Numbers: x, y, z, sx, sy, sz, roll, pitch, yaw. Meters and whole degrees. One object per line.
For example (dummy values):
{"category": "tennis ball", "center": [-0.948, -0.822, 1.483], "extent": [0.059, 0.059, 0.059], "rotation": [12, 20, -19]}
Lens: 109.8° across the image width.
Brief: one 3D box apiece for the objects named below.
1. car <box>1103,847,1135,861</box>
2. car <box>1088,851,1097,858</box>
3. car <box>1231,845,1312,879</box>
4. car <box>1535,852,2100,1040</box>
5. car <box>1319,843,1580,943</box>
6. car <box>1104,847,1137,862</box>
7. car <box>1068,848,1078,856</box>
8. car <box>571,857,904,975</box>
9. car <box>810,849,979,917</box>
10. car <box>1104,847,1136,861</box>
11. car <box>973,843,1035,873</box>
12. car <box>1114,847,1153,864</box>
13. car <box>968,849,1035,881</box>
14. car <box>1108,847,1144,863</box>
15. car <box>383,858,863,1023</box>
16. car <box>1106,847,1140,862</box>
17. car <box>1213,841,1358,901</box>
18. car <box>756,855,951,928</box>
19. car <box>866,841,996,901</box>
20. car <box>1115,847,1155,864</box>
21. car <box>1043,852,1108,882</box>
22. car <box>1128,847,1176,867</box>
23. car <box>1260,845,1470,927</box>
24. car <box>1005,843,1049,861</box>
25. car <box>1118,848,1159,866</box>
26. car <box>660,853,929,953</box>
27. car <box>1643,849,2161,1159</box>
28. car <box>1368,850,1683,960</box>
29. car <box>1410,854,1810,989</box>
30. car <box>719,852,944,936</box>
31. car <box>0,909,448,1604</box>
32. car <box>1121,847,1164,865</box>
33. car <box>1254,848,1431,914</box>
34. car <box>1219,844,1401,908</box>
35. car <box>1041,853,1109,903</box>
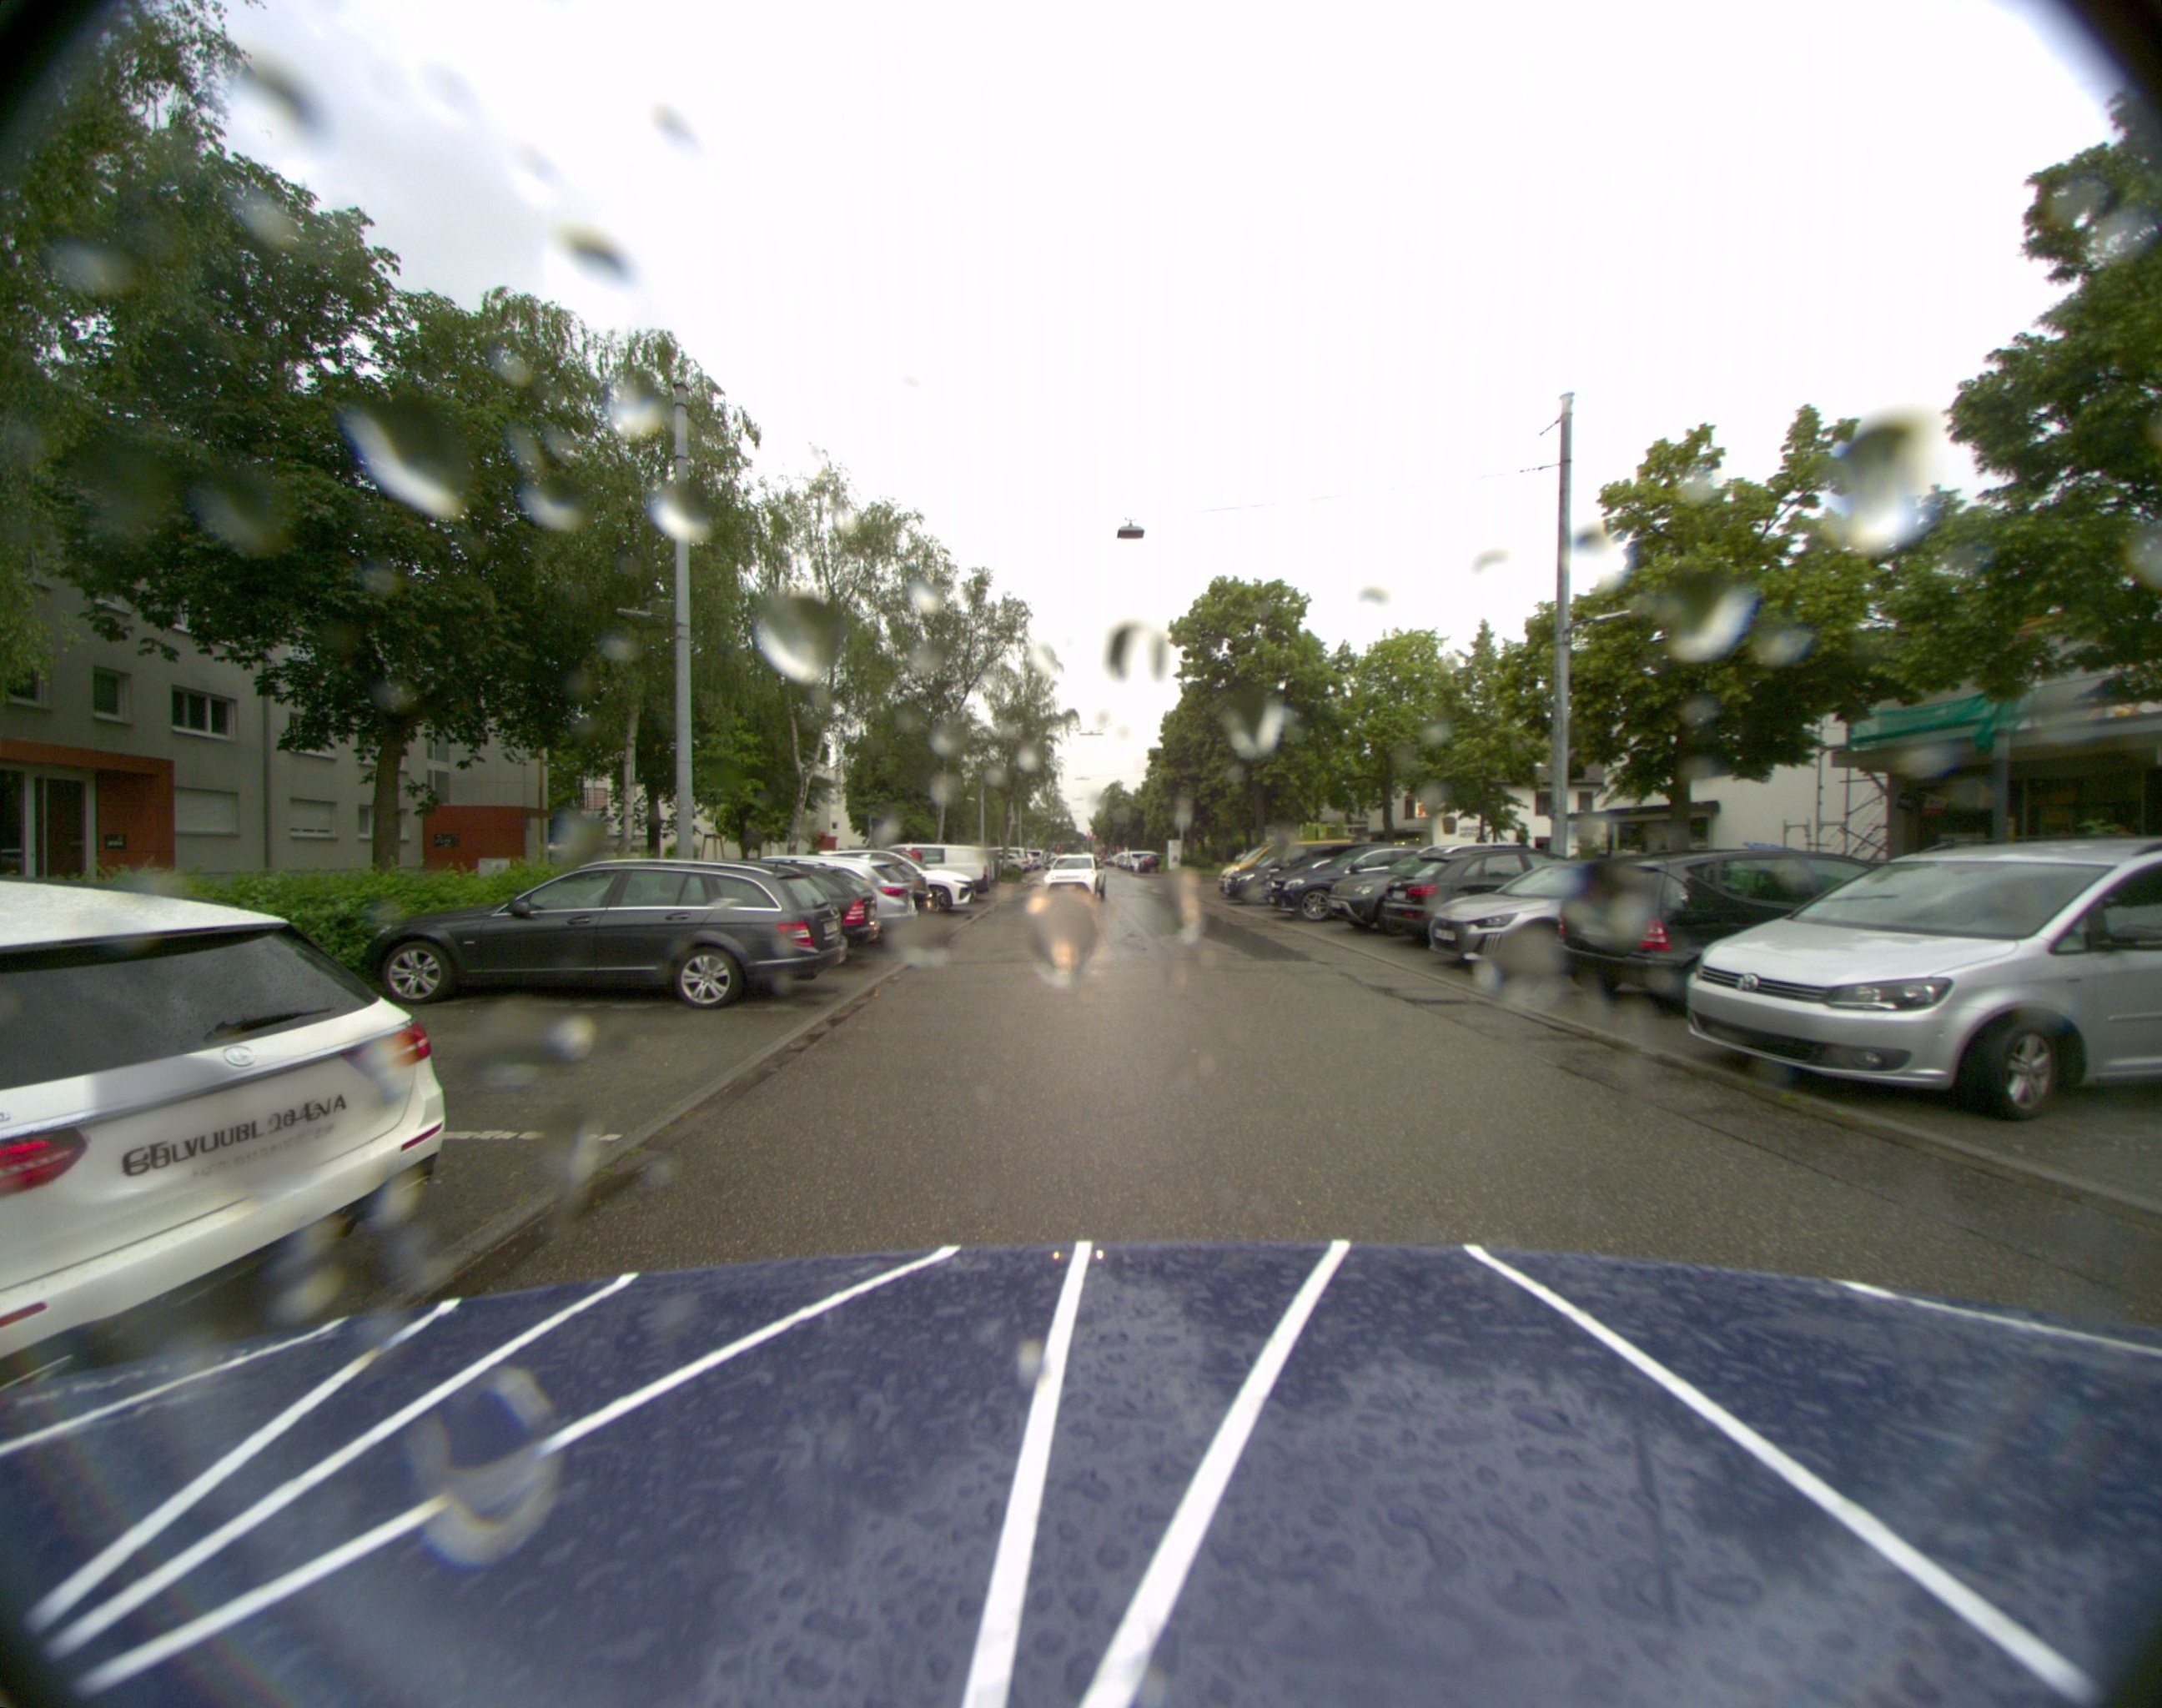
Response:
{"category": "car", "center": [4.962, 0.006, 99.179], "extent": [3.998, 1.675, 1.999], "rotation": [-2, 1, -3]}
{"category": "car", "center": [2.599, 0.083, 174.694], "extent": [1.999, 1.617, 3.999], "rotation": [-2, 1, -1]}
{"category": "car", "center": [10.384, 0.437, 41.602], "extent": [3.996, 1.677, 1.841], "rotation": [-2, 1, 3]}
{"category": "car", "center": [7.256, 0.834, 7.764], "extent": [4.283, 1.556, 1.635], "rotation": [-2, 1, -2]}
{"category": "car", "center": [7.085, 0.701, 14.874], "extent": [4.283, 1.717, 1.715], "rotation": [-2, 1, -2]}
{"category": "car", "center": [5.019, 0.033, 96.946], "extent": [3.998, 1.675, 1.999], "rotation": [-2, 1, -3]}
{"category": "car", "center": [-1.688, -0.436, 164.465], "extent": [1.998, 1.804, 3.999], "rotation": [-2, 1, 1]}
{"category": "car", "center": [-4.802, 0.850, 11.069], "extent": [4.049, 1.431, 1.680], "rotation": [2, 1, -3]}
{"category": "car", "center": [-5.052, 0.757, 20.912], "extent": [4.179, 1.609, 1.680], "rotation": [2, 1, 1]}
{"category": "car", "center": [5.194, -0.061, 101.620], "extent": [3.998, 1.675, 1.999], "rotation": [-2, 1, -3]}
{"category": "car", "center": [-5.460, 0.276, 54.102], "extent": [3.995, 1.902, 1.902], "rotation": [-2, 1, 4]}
{"category": "car", "center": [5.778, 0.174, 83.762], "extent": [3.998, 1.675, 1.999], "rotation": [-2, 1, -3]}
{"category": "car", "center": [-5.119, 0.689, 49.269], "extent": [3.995, 1.902, 1.902], "rotation": [-2, 1, 4]}
{"category": "car", "center": [5.327, 0.107, 90.318], "extent": [3.998, 1.675, 1.999], "rotation": [-2, 1, -3]}
{"category": "car", "center": [-4.606, 0.846, 8.123], "extent": [4.049, 1.431, 1.680], "rotation": [2, 1, -3]}
{"category": "car", "center": [5.210, 0.058, 94.425], "extent": [3.998, 1.675, 1.999], "rotation": [-2, 1, -3]}
{"category": "car", "center": [7.175, 0.571, 26.945], "extent": [4.657, 1.947, 1.715], "rotation": [-2, 1, -2]}
{"category": "car", "center": [-5.241, 0.845, 17.899], "extent": [4.049, 1.488, 1.680], "rotation": [2, 1, -3]}
{"category": "car", "center": [-5.086, 0.573, 26.194], "extent": [4.182, 1.856, 1.679], "rotation": [2, 1, -6]}
{"category": "car", "center": [5.727, 0.137, 81.077], "extent": [3.998, 1.675, 1.999], "rotation": [-2, 1, -3]}
{"category": "car", "center": [-0.237, 0.674, 42.334], "extent": [1.995, 1.446, 4.263], "rotation": [-2, 1, 24]}
{"category": "car", "center": [6.393, 0.269, 68.881], "extent": [3.998, 1.675, 1.999], "rotation": [-2, 1, -3]}
{"category": "car", "center": [6.611, 0.715, 17.953], "extent": [4.283, 1.717, 1.715], "rotation": [-2, 1, -2]}
{"category": "car", "center": [-5.281, -0.218, 75.033], "extent": [3.995, 1.670, 1.902], "rotation": [-2, 1, 4]}
{"category": "car", "center": [5.907, 0.249, 78.349], "extent": [3.998, 1.675, 1.999], "rotation": [-2, 1, -3]}
{"category": "car", "center": [-4.857, 0.817, 13.314], "extent": [4.049, 1.488, 1.680], "rotation": [2, 1, -3]}
{"category": "car", "center": [6.612, 0.839, 5.219], "extent": [4.283, 1.625, 1.715], "rotation": [-2, 1, -2]}
{"category": "car", "center": [7.260, 0.785, 12.682], "extent": [4.283, 1.586, 1.715], "rotation": [-2, 1, -2]}
{"category": "car", "center": [6.993, 0.835, 10.323], "extent": [4.283, 1.523, 1.715], "rotation": [-2, 1, -2]}
{"category": "car", "center": [-5.001, 0.792, 15.637], "extent": [4.049, 1.488, 1.680], "rotation": [2, 1, -3]}
{"category": "car", "center": [-4.758, 0.914, 2.073], "extent": [4.623, 1.431, 1.680], "rotation": [2, 1, 0]}
{"category": "car", "center": [6.091, 0.191, 75.848], "extent": [3.998, 1.675, 1.999], "rotation": [-2, 1, -3]}
{"category": "car", "center": [7.172, 0.718, 21.078], "extent": [4.283, 1.617, 1.715], "rotation": [-2, 1, -2]}
{"category": "car", "center": [7.109, 0.643, 23.864], "extent": [5.177, 1.789, 1.715], "rotation": [-2, 1, -2]}
{"category": "car", "center": [-0.113, 0.749, 26.088], "extent": [1.732, 1.519, 4.141], "rotation": [0, 1, 8]}
